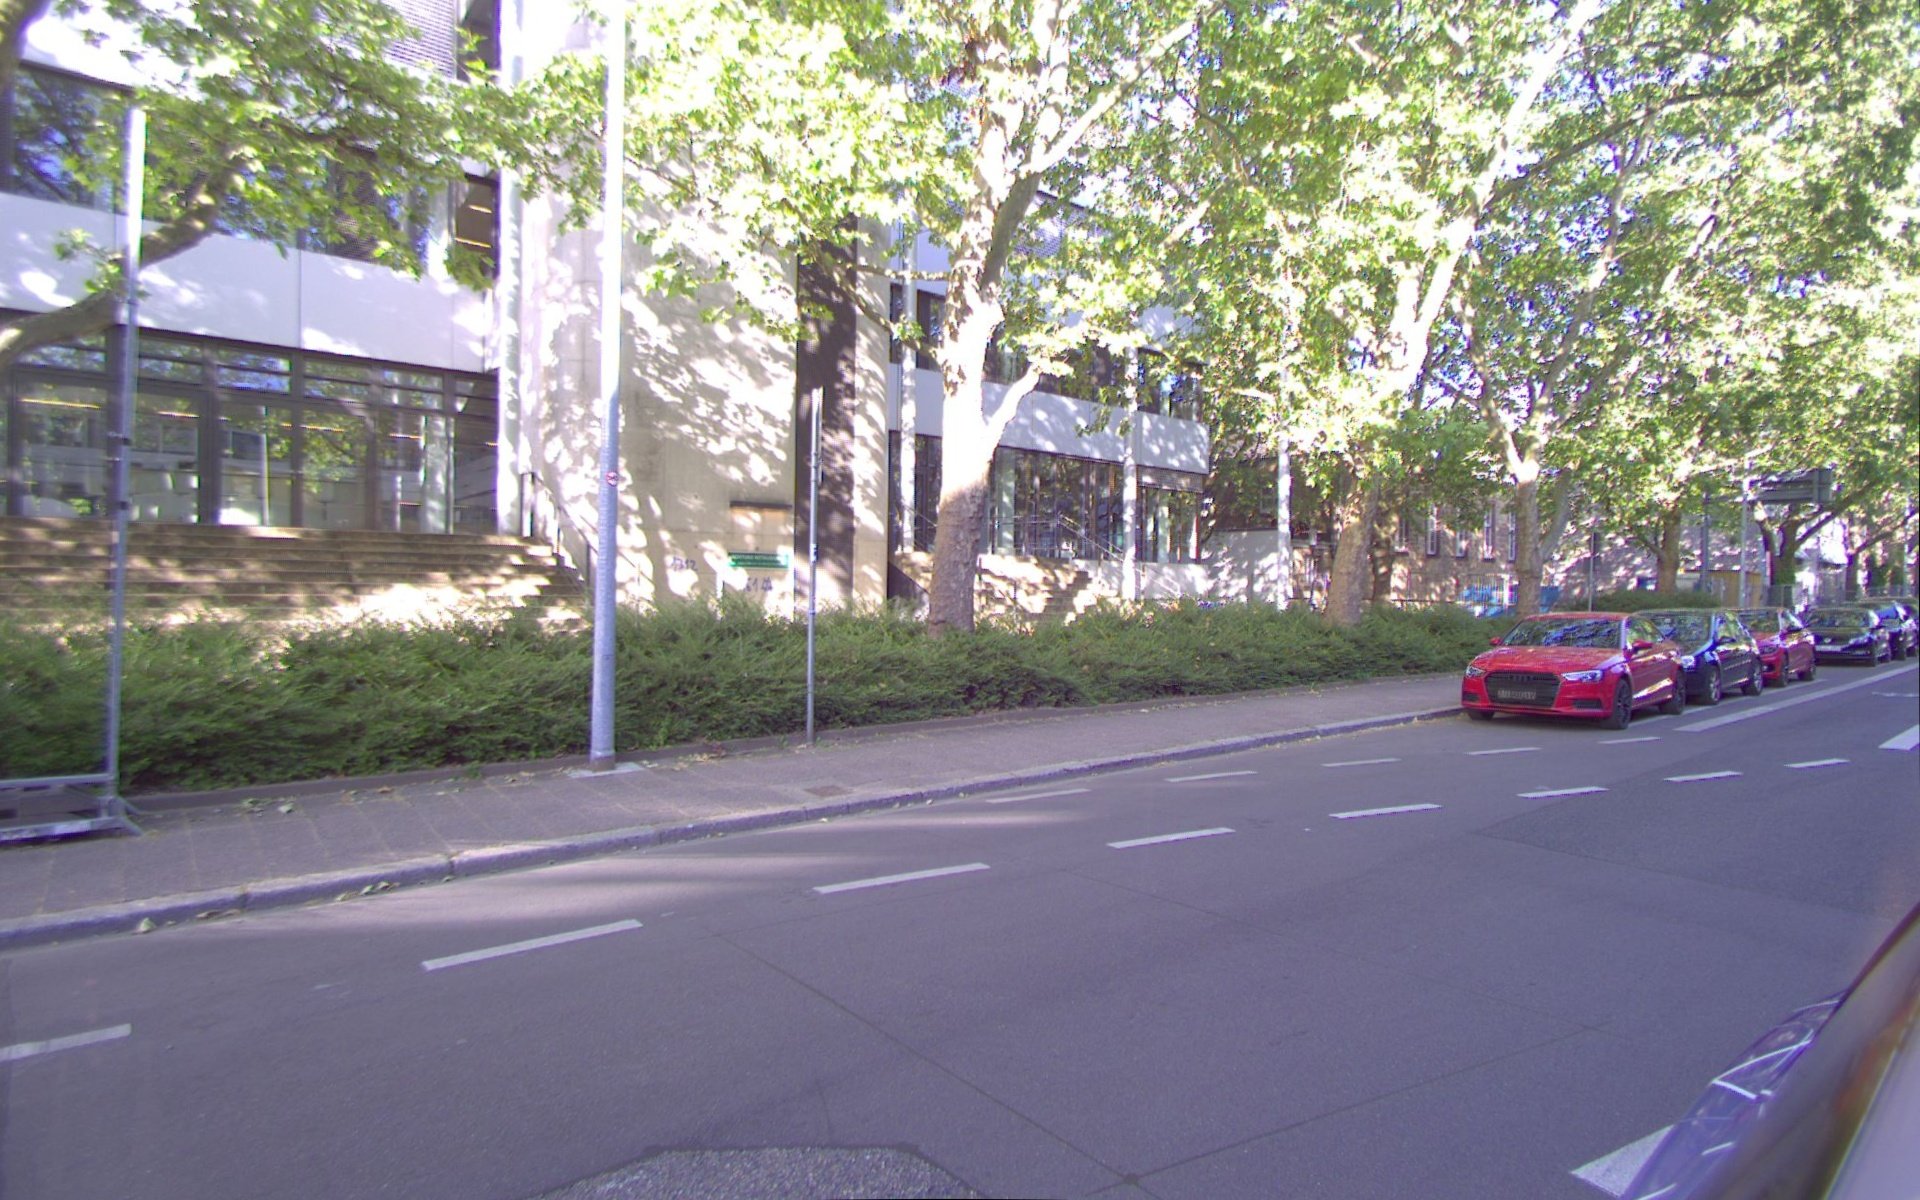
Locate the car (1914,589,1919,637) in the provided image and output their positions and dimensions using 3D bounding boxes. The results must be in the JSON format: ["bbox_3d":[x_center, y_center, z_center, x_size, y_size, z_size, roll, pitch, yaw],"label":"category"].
[{"bbox_3d":[39.647,0.486,40.324,3.930,1.872,1.997,-1,0,-41],"label":"car"}]

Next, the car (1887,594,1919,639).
[{"bbox_3d":[35.957,0.586,37.444,4.070,1.585,1.997,-1,0,-41],"label":"car"}]

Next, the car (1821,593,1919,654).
[{"bbox_3d":[26.535,0.610,29.180,4.070,1.621,1.997,-1,0,-41],"label":"car"}]

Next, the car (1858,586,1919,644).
[{"bbox_3d":[31.276,0.451,33.311,4.493,1.809,1.997,-1,0,-41],"label":"car"}]

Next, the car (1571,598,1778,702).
[{"bbox_3d":[11.804,0.729,16.663,3.581,1.478,1.997,-1,0,-41],"label":"car"}]

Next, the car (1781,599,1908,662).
[{"bbox_3d":[22.812,0.725,26.061,3.527,1.474,1.997,-1,0,-41],"label":"car"}]

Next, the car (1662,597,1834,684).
[{"bbox_3d":[15.656,0.719,20.051,3.762,1.517,1.997,-1,0,-41],"label":"car"}]

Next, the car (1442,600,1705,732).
[{"bbox_3d":[8.269,0.753,13.524,3.930,1.443,1.906,-1,1,-41],"label":"car"}]
